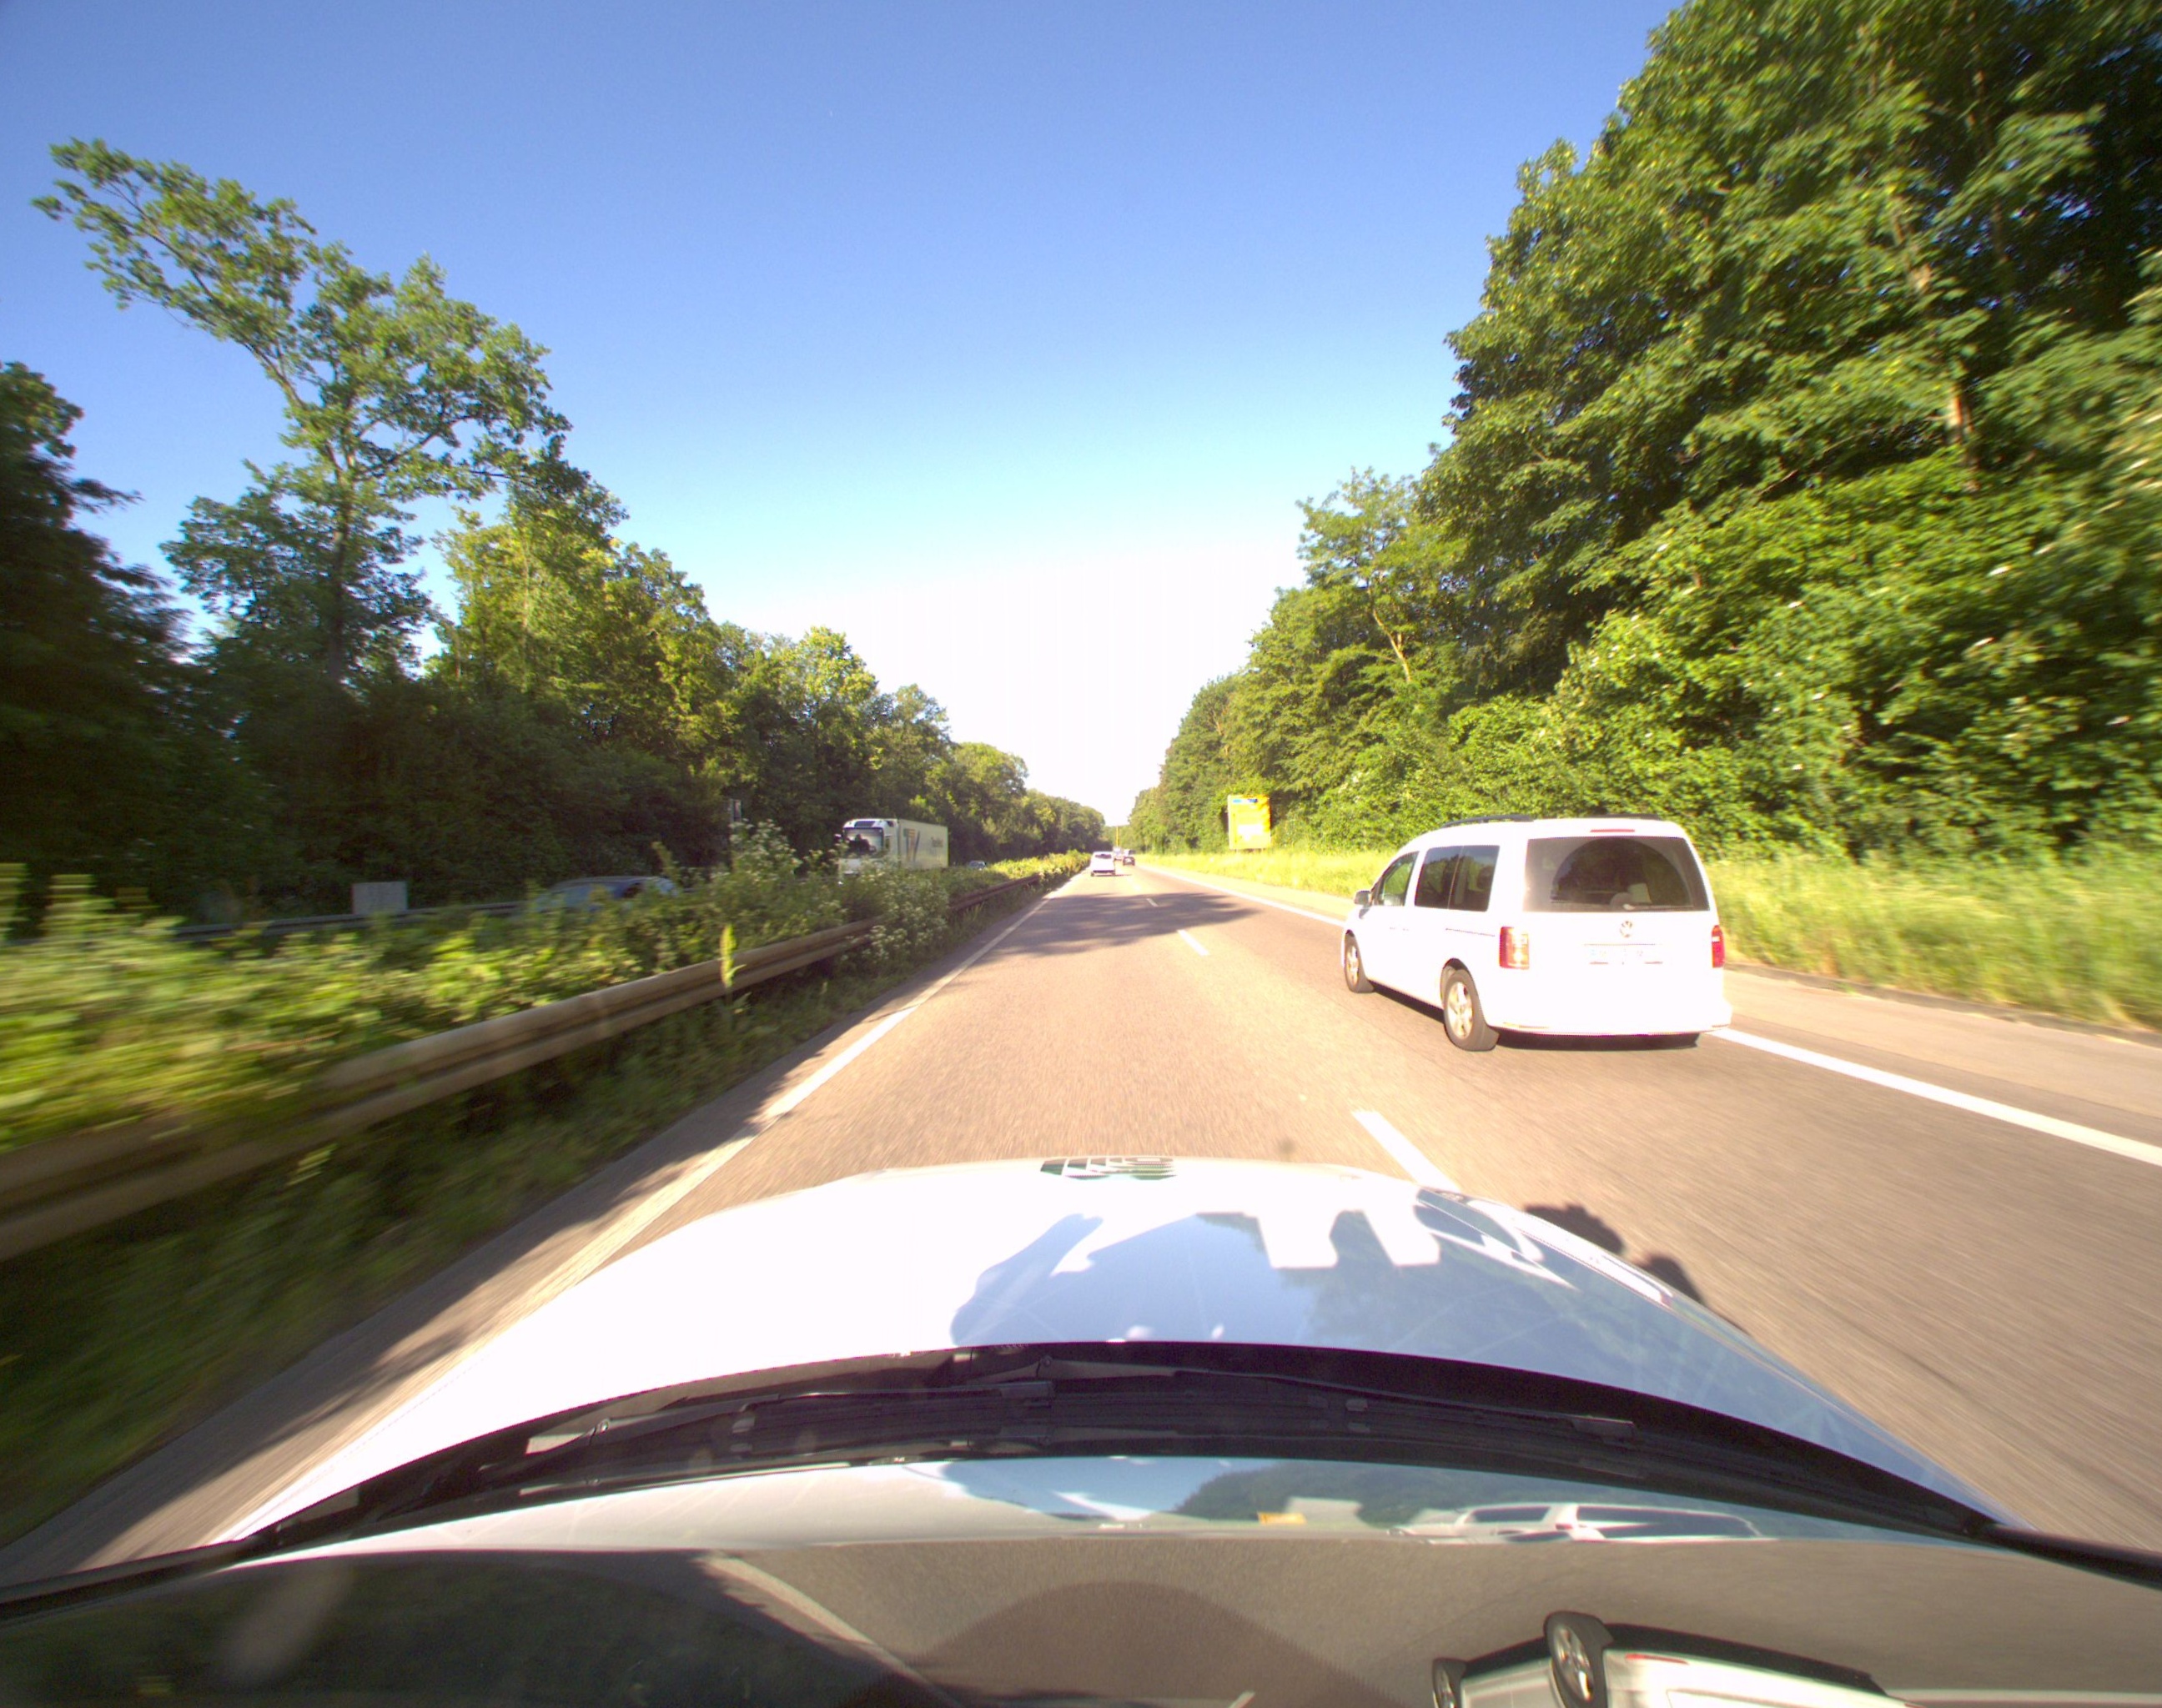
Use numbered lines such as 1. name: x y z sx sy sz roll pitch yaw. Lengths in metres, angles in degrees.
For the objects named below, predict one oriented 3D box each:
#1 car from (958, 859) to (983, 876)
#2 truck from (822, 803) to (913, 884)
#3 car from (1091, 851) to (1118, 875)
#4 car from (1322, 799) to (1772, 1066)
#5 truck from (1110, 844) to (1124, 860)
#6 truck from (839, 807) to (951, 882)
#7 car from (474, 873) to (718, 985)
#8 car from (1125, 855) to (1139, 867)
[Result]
1. car: -10.243 1.243 75.727 1.757 1.473 3.793 0 -1 2
2. truck: -11.276 -0.516 43.539 3.216 4.013 5.678 0 0 1
3. car: 1.737 0.681 61.613 1.944 1.782 4.588 0 -1 1
4. car: 3.845 0.555 7.838 1.792 1.813 4.588 0 -1 1
5. truck: 10.273 -0.480 233.059 3.720 4.343 9.308 0 -1 2
6. truck: -11.064 -0.513 50.557 3.231 4.013 14.456 0 0 2
7. car: -8.128 1.162 14.160 1.755 1.616 3.990 0 -1 2
8. car: 7.600 1.044 121.325 1.944 1.782 4.588 0 -1 1
